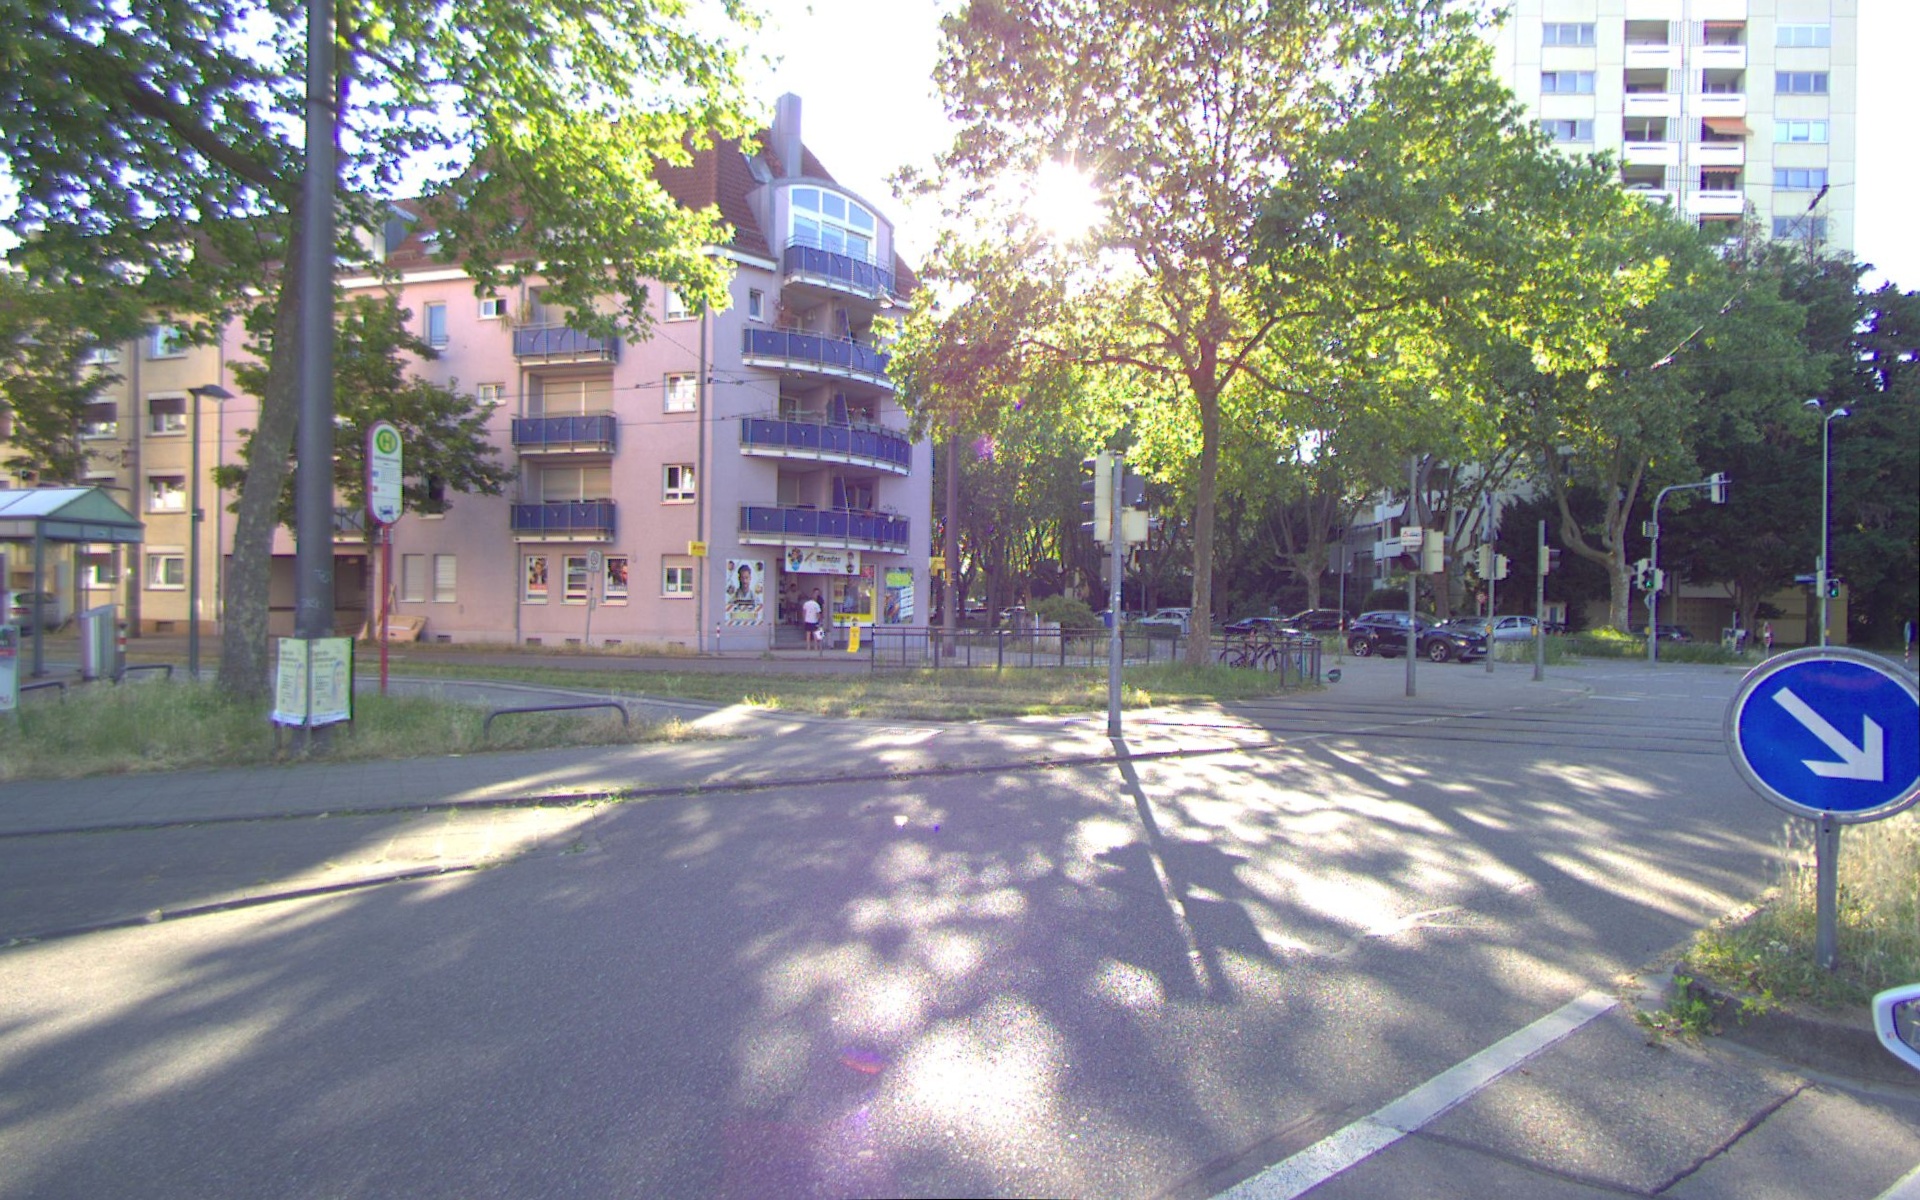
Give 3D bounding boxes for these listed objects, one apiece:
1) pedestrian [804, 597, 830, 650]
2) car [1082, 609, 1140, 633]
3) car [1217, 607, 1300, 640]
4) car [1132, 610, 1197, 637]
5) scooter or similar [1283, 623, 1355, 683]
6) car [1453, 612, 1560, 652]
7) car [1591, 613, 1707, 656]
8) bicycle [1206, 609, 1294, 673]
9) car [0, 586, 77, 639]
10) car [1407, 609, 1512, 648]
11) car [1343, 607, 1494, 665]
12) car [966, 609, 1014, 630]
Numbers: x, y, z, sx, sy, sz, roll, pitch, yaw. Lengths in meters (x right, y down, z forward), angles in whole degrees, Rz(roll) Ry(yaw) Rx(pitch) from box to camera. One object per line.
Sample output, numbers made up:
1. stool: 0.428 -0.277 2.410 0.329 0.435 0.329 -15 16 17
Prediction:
1. pedestrian: -4.642 0.768 32.637 0.610 1.689 0.549 2 0 38
2. car: 11.081 1.525 73.894 3.921 1.617 1.738 2 0 0
3. car: 15.910 1.242 53.677 3.921 1.617 1.738 2 0 0
4. car: 13.400 1.553 65.979 3.921 1.617 1.738 2 0 0
5. scooter or similar: 7.920 1.163 22.200 1.412 1.255 0.414 2 0 9
6. car: 23.879 1.384 43.979 3.732 1.617 1.738 2 0 0
7. car: 31.613 1.573 46.199 1.971 1.798 3.979 2 0 -22
8. bicycle: 6.398 0.885 22.241 1.811 1.324 0.382 2 0 34
9. car: -33.481 0.396 35.214 4.029 1.728 1.940 2 0 16
10. car: 22.839 1.299 46.029 3.921 1.617 1.738 2 0 0
11. car: 14.292 1.098 31.473 1.722 1.617 3.959 2 0 -36
12. car: 2.605 1.671 86.362 3.919 1.617 1.739 2 0 9
